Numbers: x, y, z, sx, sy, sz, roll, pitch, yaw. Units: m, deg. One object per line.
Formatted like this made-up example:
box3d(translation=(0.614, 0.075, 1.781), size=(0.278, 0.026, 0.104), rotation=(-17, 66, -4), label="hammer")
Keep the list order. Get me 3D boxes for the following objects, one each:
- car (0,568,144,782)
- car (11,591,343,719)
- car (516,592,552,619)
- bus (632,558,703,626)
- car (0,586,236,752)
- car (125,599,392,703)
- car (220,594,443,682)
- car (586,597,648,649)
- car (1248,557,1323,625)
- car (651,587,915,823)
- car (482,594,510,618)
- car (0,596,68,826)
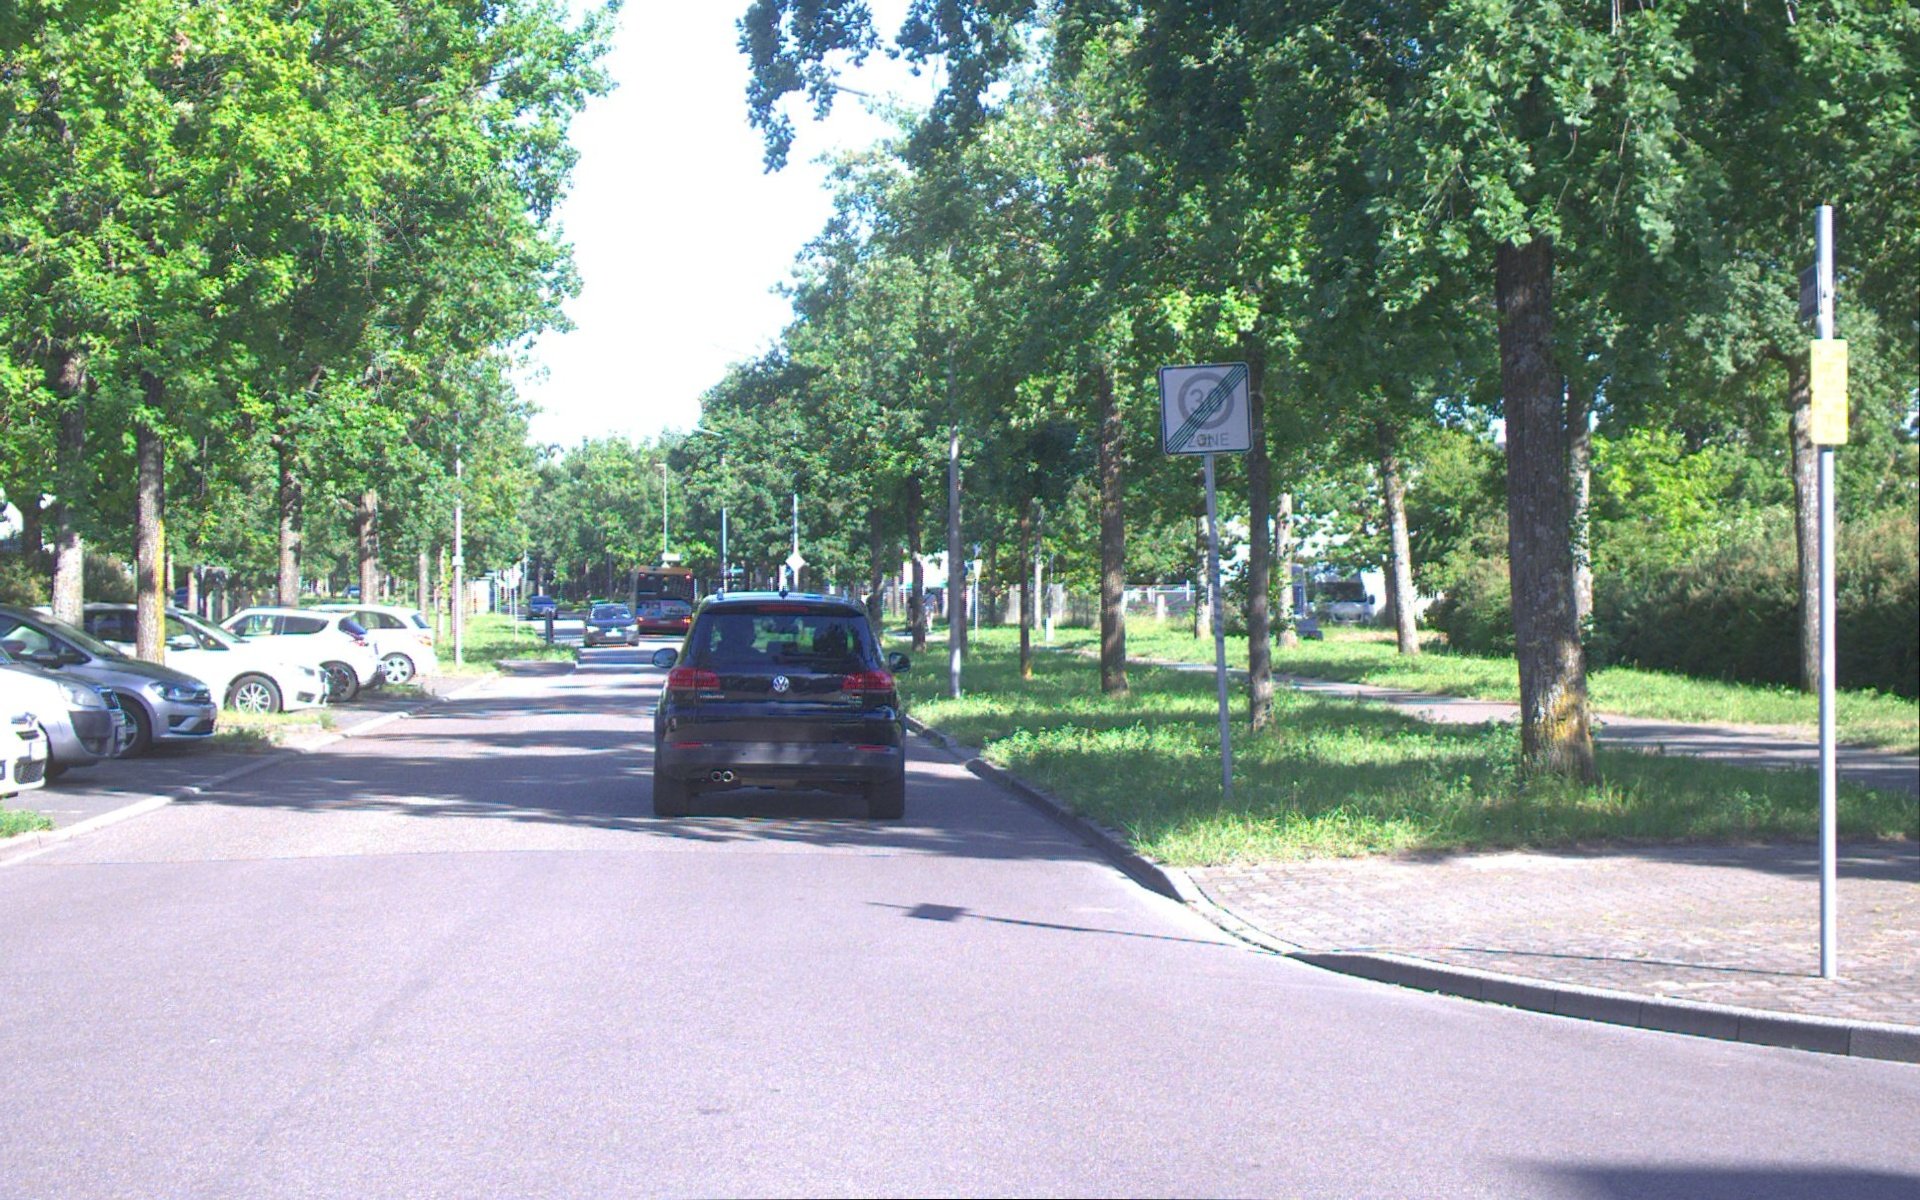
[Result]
box3d(translation=(-9.441, 0.646, 30.440), size=(4.016, 1.833, 1.897), rotation=(0, 0, -2), label="car")
box3d(translation=(-10.312, 0.720, 45.480), size=(4.016, 1.642, 1.811), rotation=(0, 0, -2), label="car")
box3d(translation=(-25.771, 0.322, 208.043), size=(1.825, 1.546, 3.689), rotation=(0, 0, -3), label="car")
box3d(translation=(-13.140, -0.351, 154.816), size=(2.928, 2.993, 5.737), rotation=(0, 0, -2), label="bus")
box3d(translation=(-9.660, 0.693, 35.464), size=(4.016, 1.642, 1.897), rotation=(0, 0, -2), label="car")
box3d(translation=(-11.367, 0.816, 55.893), size=(4.016, 1.642, 1.811), rotation=(0, 0, -2), label="car")
box3d(translation=(-12.137, 0.718, 66.553), size=(4.016, 1.642, 1.811), rotation=(0, 0, -2), label="car")
box3d(translation=(-11.476, 0.757, 115.216), size=(1.852, 1.687, 3.956), rotation=(0, 0, -3), label="car")
box3d(translation=(9.789, -0.285, 103.597), size=(2.054, 2.007, 4.000), rotation=(0, 0, 3), label="car")
box3d(translation=(-1.317, 0.731, 26.177), size=(1.838, 1.631, 3.958), rotation=(1, 0, -2), label="car")
box3d(translation=(-34.087, 0.449, 252.584), size=(1.815, 1.769, 3.778), rotation=(0, 0, -4), label="car")
box3d(translation=(-8.850, 0.793, 25.069), size=(4.241, 1.617, 1.897), rotation=(0, 0, -2), label="car")
